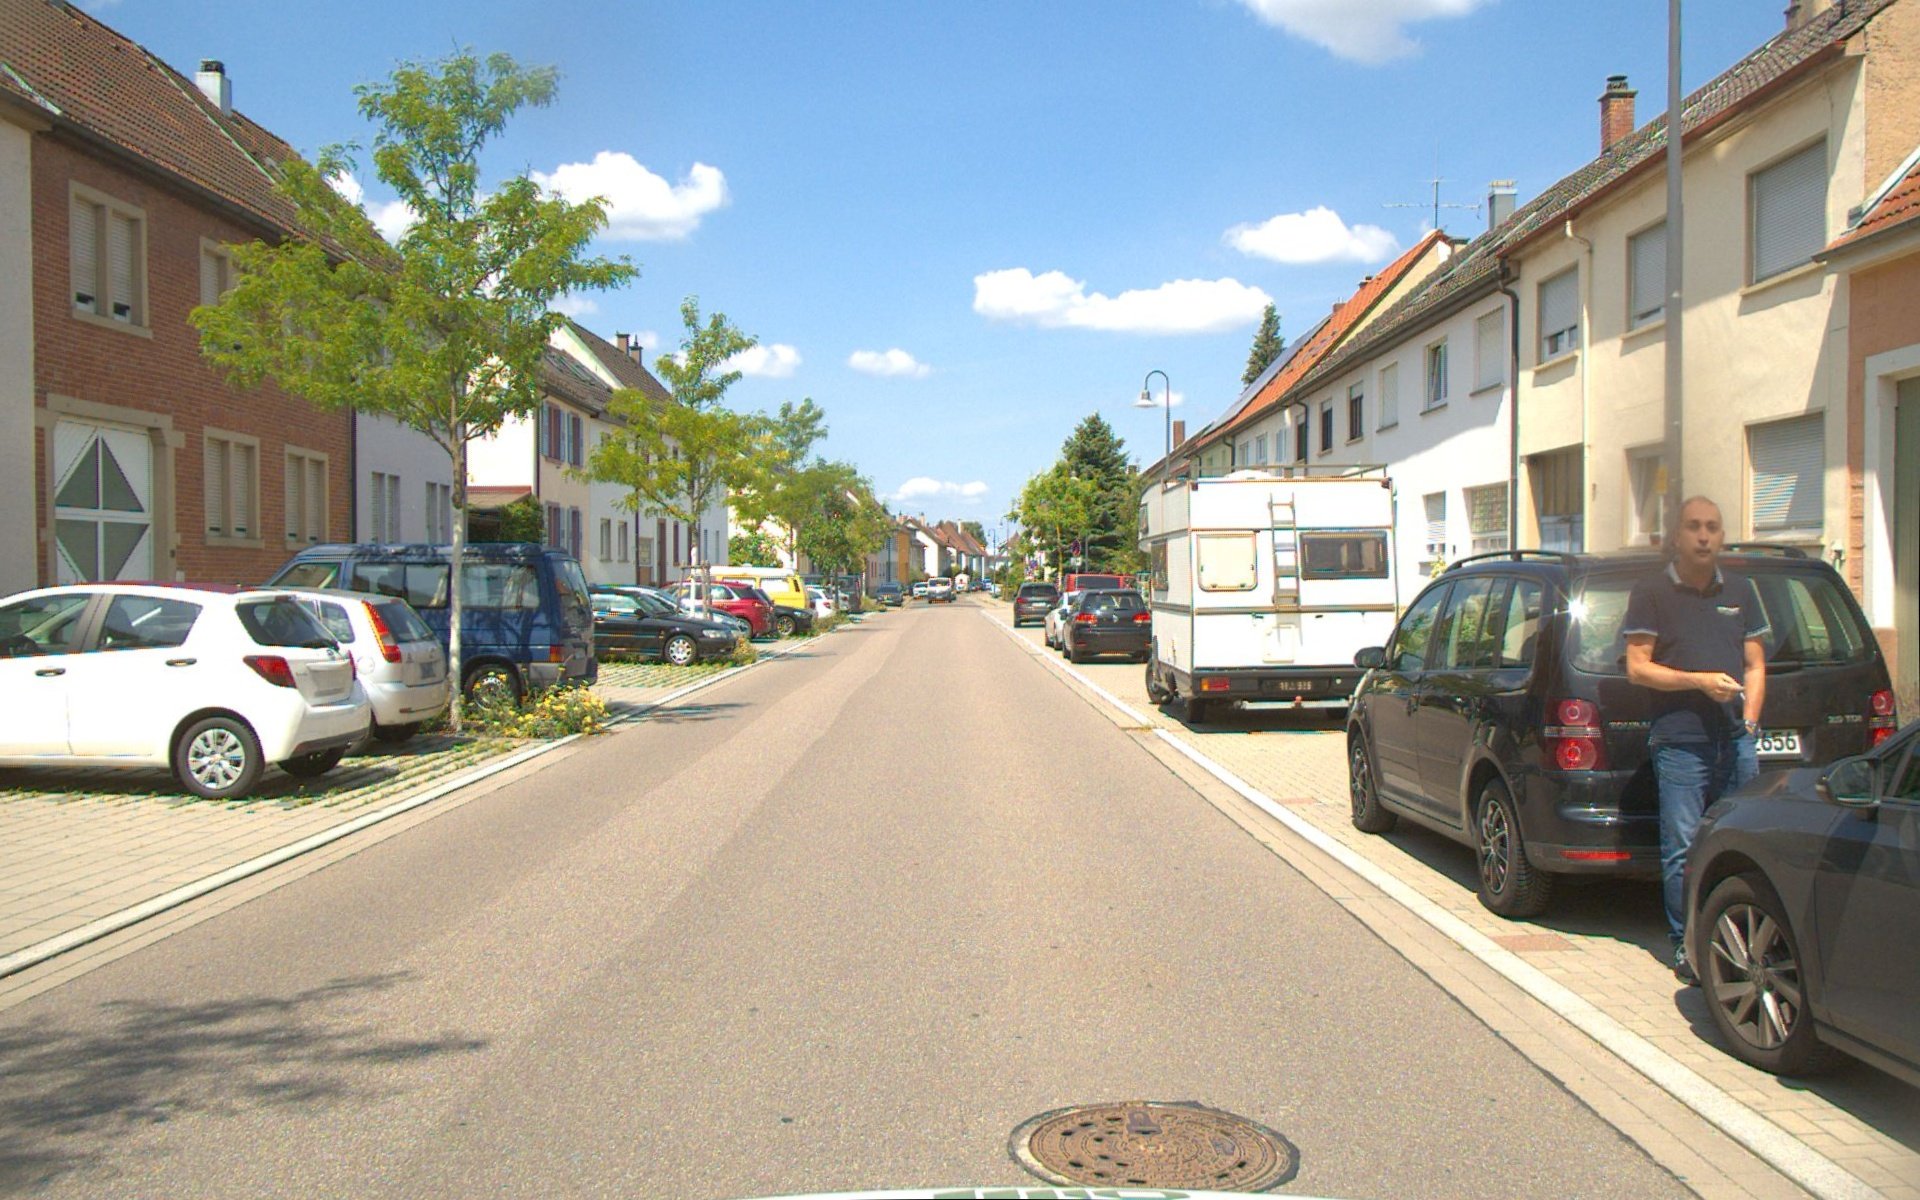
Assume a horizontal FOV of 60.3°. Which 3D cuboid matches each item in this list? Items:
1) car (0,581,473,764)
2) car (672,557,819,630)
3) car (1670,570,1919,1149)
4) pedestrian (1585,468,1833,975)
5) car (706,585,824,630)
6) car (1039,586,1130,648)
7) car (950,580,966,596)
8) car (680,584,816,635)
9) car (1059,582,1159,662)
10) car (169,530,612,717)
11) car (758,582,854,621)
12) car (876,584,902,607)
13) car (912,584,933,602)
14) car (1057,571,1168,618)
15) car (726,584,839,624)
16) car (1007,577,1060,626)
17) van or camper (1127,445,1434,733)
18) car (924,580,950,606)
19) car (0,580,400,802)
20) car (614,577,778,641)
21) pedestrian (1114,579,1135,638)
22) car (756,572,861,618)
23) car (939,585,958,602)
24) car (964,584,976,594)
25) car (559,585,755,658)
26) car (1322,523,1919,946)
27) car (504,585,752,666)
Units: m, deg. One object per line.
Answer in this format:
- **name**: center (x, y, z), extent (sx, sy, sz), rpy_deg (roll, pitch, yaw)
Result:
- **car**: center (-6.667, 0.617, 15.166), extent (3.835, 1.514, 1.773), rpy_deg (1, 0, 1)
- **car**: center (-6.852, -0.203, 53.171), extent (4.416, 2.215, 1.925), rpy_deg (1, 0, -1)
- **car**: center (3.402, 0.686, 3.627), extent (1.731, 1.514, 4.295), rpy_deg (0, 0, -2)
- **pedestrian**: center (2.897, 0.452, 6.445), extent (0.702, 1.885, 0.578), rpy_deg (0, 0, 0)
- **car**: center (-6.814, 0.252, 57.667), extent (3.996, 1.493, 1.750), rpy_deg (1, 0, -9)
- **car**: center (3.091, 0.390, 41.815), extent (1.795, 1.491, 4.518), rpy_deg (0, 0, -2)
- **car**: center (-0.307, -1.723, 239.046), extent (2.002, 2.352, 3.773), rpy_deg (1, 0, 3)
- **car**: center (-6.430, 0.276, 50.462), extent (3.928, 1.485, 1.755), rpy_deg (1, 0, -1)
- **car**: center (3.055, 0.423, 34.596), extent (1.730, 1.556, 4.007), rpy_deg (0, 0, 0)
- **car**: center (-6.628, 0.256, 19.611), extent (4.517, 2.031, 1.953), rpy_deg (1, 0, 1)
- **car**: center (-6.723, 0.065, 72.562), extent (4.100, 1.596, 1.772), rpy_deg (1, 0, -4)
- **car**: center (-5.164, -0.317, 120.392), extent (1.780, 1.458, 4.138), rpy_deg (4, 2, -3)
- **car**: center (-3.835, -0.724, 169.317), extent (1.811, 1.688, 4.001), rpy_deg (2, 0, 2)
- **car**: center (6.573, -0.215, 71.540), extent (4.525, 1.926, 2.020), rpy_deg (1, -1, -2)
- **car**: center (-7.023, 0.151, 65.680), extent (4.206, 1.493, 1.774), rpy_deg (1, 0, 1)
- **car**: center (2.717, 0.030, 61.736), extent (1.825, 1.664, 4.448), rpy_deg (-2, 1, 2)
- **van or camper**: center (3.543, -0.150, 19.657), extent (2.423, 2.859, 5.790), rpy_deg (-1, 1, -1)
- **car**: center (-1.833, -0.550, 130.041), extent (1.981, 1.984, 4.897), rpy_deg (0, 0, -1)
- **car**: center (-6.484, 0.623, 12.539), extent (3.835, 1.514, 1.773), rpy_deg (1, 0, 1)
- **car**: center (-7.162, 0.242, 45.222), extent (4.167, 1.639, 1.842), rpy_deg (1, 0, -1)
- **pedestrian**: center (4.961, 0.252, 49.865), extent (0.546, 1.779, 0.673), rpy_deg (-1, 0, 0)
- **car**: center (-6.875, -0.202, 75.380), extent (4.604, 1.957, 1.937), rpy_deg (1, 0, -1)
- **car**: center (-1.084, -0.616, 155.215), extent (1.727, 1.549, 4.048), rpy_deg (-2, 0, -1)
- **car**: center (1.541, -1.731, 261.260), extent (1.656, 1.530, 3.773), rpy_deg (1, 0, 3)
- **car**: center (-6.550, 0.450, 36.066), extent (3.973, 1.503, 1.775), rpy_deg (1, 0, -3)
- **car**: center (3.301, 0.539, 8.952), extent (1.730, 1.734, 4.325), rpy_deg (0, 0, 0)
- **car**: center (-6.378, 0.480, 32.121), extent (4.432, 1.450, 1.795), rpy_deg (1, 0, -1)
